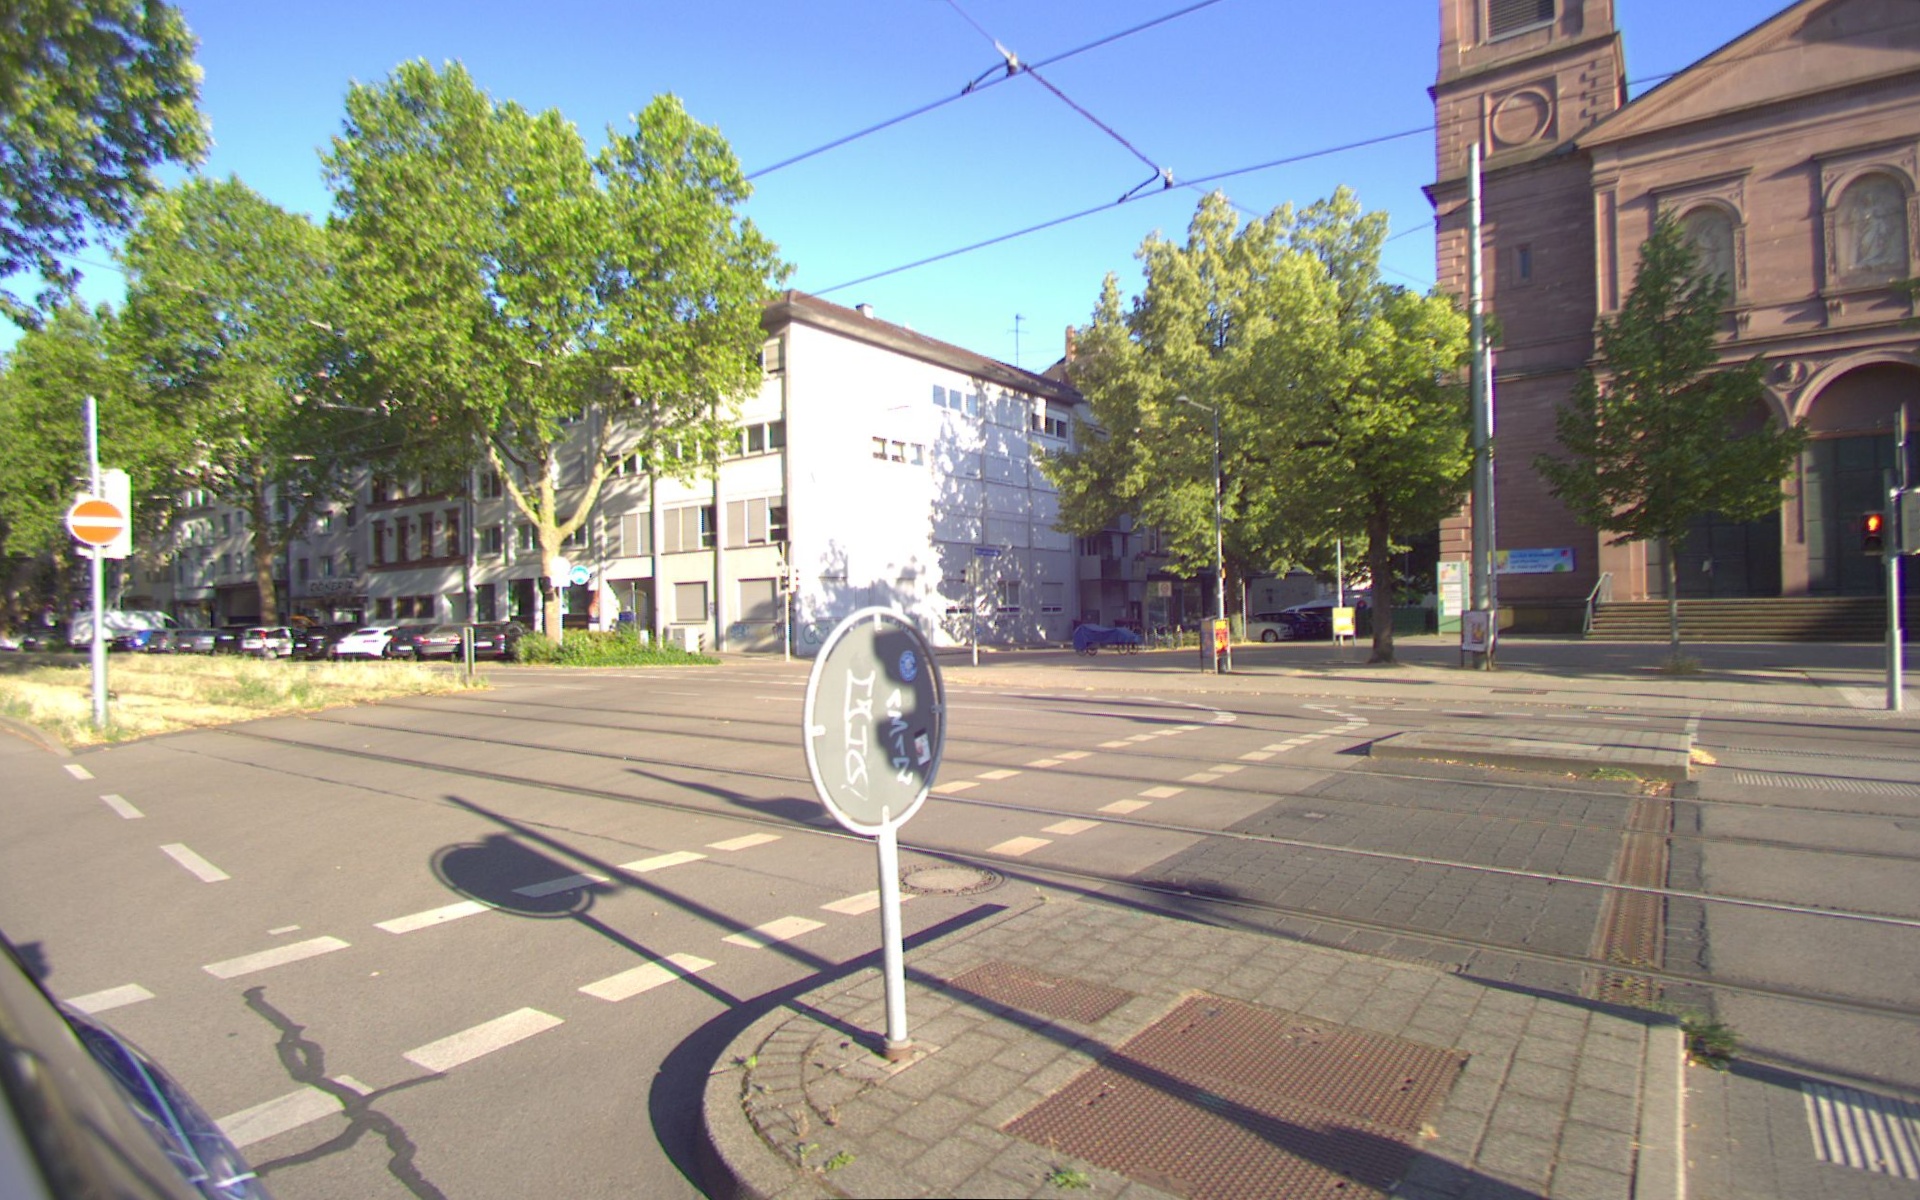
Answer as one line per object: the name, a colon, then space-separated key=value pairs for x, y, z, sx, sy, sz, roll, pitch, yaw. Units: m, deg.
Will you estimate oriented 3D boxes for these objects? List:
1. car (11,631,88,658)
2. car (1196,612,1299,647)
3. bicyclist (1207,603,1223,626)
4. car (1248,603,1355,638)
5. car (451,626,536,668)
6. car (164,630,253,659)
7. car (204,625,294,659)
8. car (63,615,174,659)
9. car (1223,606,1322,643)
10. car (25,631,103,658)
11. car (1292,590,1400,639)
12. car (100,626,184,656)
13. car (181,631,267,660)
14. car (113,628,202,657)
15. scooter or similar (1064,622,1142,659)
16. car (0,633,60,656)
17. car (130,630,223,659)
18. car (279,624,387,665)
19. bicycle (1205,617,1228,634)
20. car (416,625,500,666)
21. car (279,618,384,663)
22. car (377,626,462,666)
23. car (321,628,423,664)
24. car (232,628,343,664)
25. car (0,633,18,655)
car: x=-68.521 y=3.328 z=76.229 sx=1.978 sy=1.829 sz=3.988 roll=-1 pitch=-1 yaw=10
car: x=12.766 y=1.323 z=45.051 sx=3.994 sy=1.409 sz=1.794 roll=-3 pitch=-2 yaw=37
bicyclist: x=15.483 y=0.883 z=61.426 sx=0.632 sy=1.341 sz=0.957 roll=-2 pitch=-1 yaw=37
car: x=17.084 y=1.022 z=50.759 sx=4.701 sy=1.674 sz=1.975 roll=-2 pitch=-1 yaw=37
car: x=-17.505 y=1.722 z=38.144 sx=1.745 sy=1.442 sz=3.976 roll=-1 pitch=-1 yaw=-6
car: x=-42.616 y=2.509 z=57.487 sx=1.881 sy=1.468 sz=4.256 roll=-1 pitch=-1 yaw=1
car: x=-37.303 y=2.189 z=53.237 sx=1.880 sy=1.626 sz=4.260 roll=-1 pitch=-1 yaw=-3
car: x=-55.903 y=2.414 z=67.415 sx=2.158 sy=2.721 sz=5.591 roll=-1 pitch=-1 yaw=12
car: x=14.463 y=1.154 z=46.953 sx=3.994 sy=1.630 sz=1.867 roll=-2 pitch=-1 yaw=38
car: x=-65.807 y=3.240 z=74.408 sx=1.978 sy=1.829 sz=3.988 roll=-1 pitch=-1 yaw=10
car: x=20.931 y=0.827 z=55.031 sx=5.106 sy=2.537 sz=1.975 roll=-2 pitch=-1 yaw=38
car: x=-53.421 y=2.671 z=66.157 sx=1.978 sy=1.829 sz=3.988 roll=-1 pitch=-1 yaw=10
car: x=-40.139 y=2.459 z=55.284 sx=1.580 sy=1.470 sz=4.256 roll=-1 pitch=-1 yaw=1
car: x=-48.703 y=2.570 z=61.501 sx=1.978 sy=1.630 sz=3.988 roll=-1 pitch=-1 yaw=10
scooter or similar: x=4.966 y=1.404 z=35.182 sx=2.444 sy=1.135 sz=1.083 roll=-5 pitch=-3 yaw=37
car: x=-75.025 y=3.578 z=81.145 sx=1.978 sy=1.719 sz=3.988 roll=-1 pitch=-1 yaw=10
car: x=-46.155 y=2.592 z=59.693 sx=1.982 sy=1.529 sz=3.979 roll=-1 pitch=-1 yaw=16
car: x=-27.853 y=1.941 z=45.119 sx=2.124 sy=1.697 sz=4.255 roll=-1 pitch=-1 yaw=2
bicycle: x=15.636 y=1.564 z=61.610 sx=0.632 sy=0.988 sz=1.964 roll=-2 pitch=-1 yaw=37
car: x=-19.943 y=1.778 z=40.372 sx=1.716 sy=1.443 sz=3.976 roll=-2 pitch=-1 yaw=-6
car: x=-29.820 y=1.890 z=48.140 sx=1.506 sy=1.958 sz=4.227 roll=-2 pitch=-1 yaw=21
car: x=-22.645 y=1.885 z=42.552 sx=1.804 sy=1.515 sz=3.976 roll=-1 pitch=-1 yaw=-6
car: x=-25.022 y=1.926 z=43.241 sx=2.121 sy=1.388 sz=4.261 roll=-1 pitch=-1 yaw=-4
car: x=-31.821 y=2.156 z=47.999 sx=1.632 sy=1.569 sz=4.227 roll=-2 pitch=-1 yaw=21
car: x=-78.463 y=3.542 z=80.931 sx=1.994 sy=1.719 sz=4.189 roll=-2 pitch=-1 yaw=33
